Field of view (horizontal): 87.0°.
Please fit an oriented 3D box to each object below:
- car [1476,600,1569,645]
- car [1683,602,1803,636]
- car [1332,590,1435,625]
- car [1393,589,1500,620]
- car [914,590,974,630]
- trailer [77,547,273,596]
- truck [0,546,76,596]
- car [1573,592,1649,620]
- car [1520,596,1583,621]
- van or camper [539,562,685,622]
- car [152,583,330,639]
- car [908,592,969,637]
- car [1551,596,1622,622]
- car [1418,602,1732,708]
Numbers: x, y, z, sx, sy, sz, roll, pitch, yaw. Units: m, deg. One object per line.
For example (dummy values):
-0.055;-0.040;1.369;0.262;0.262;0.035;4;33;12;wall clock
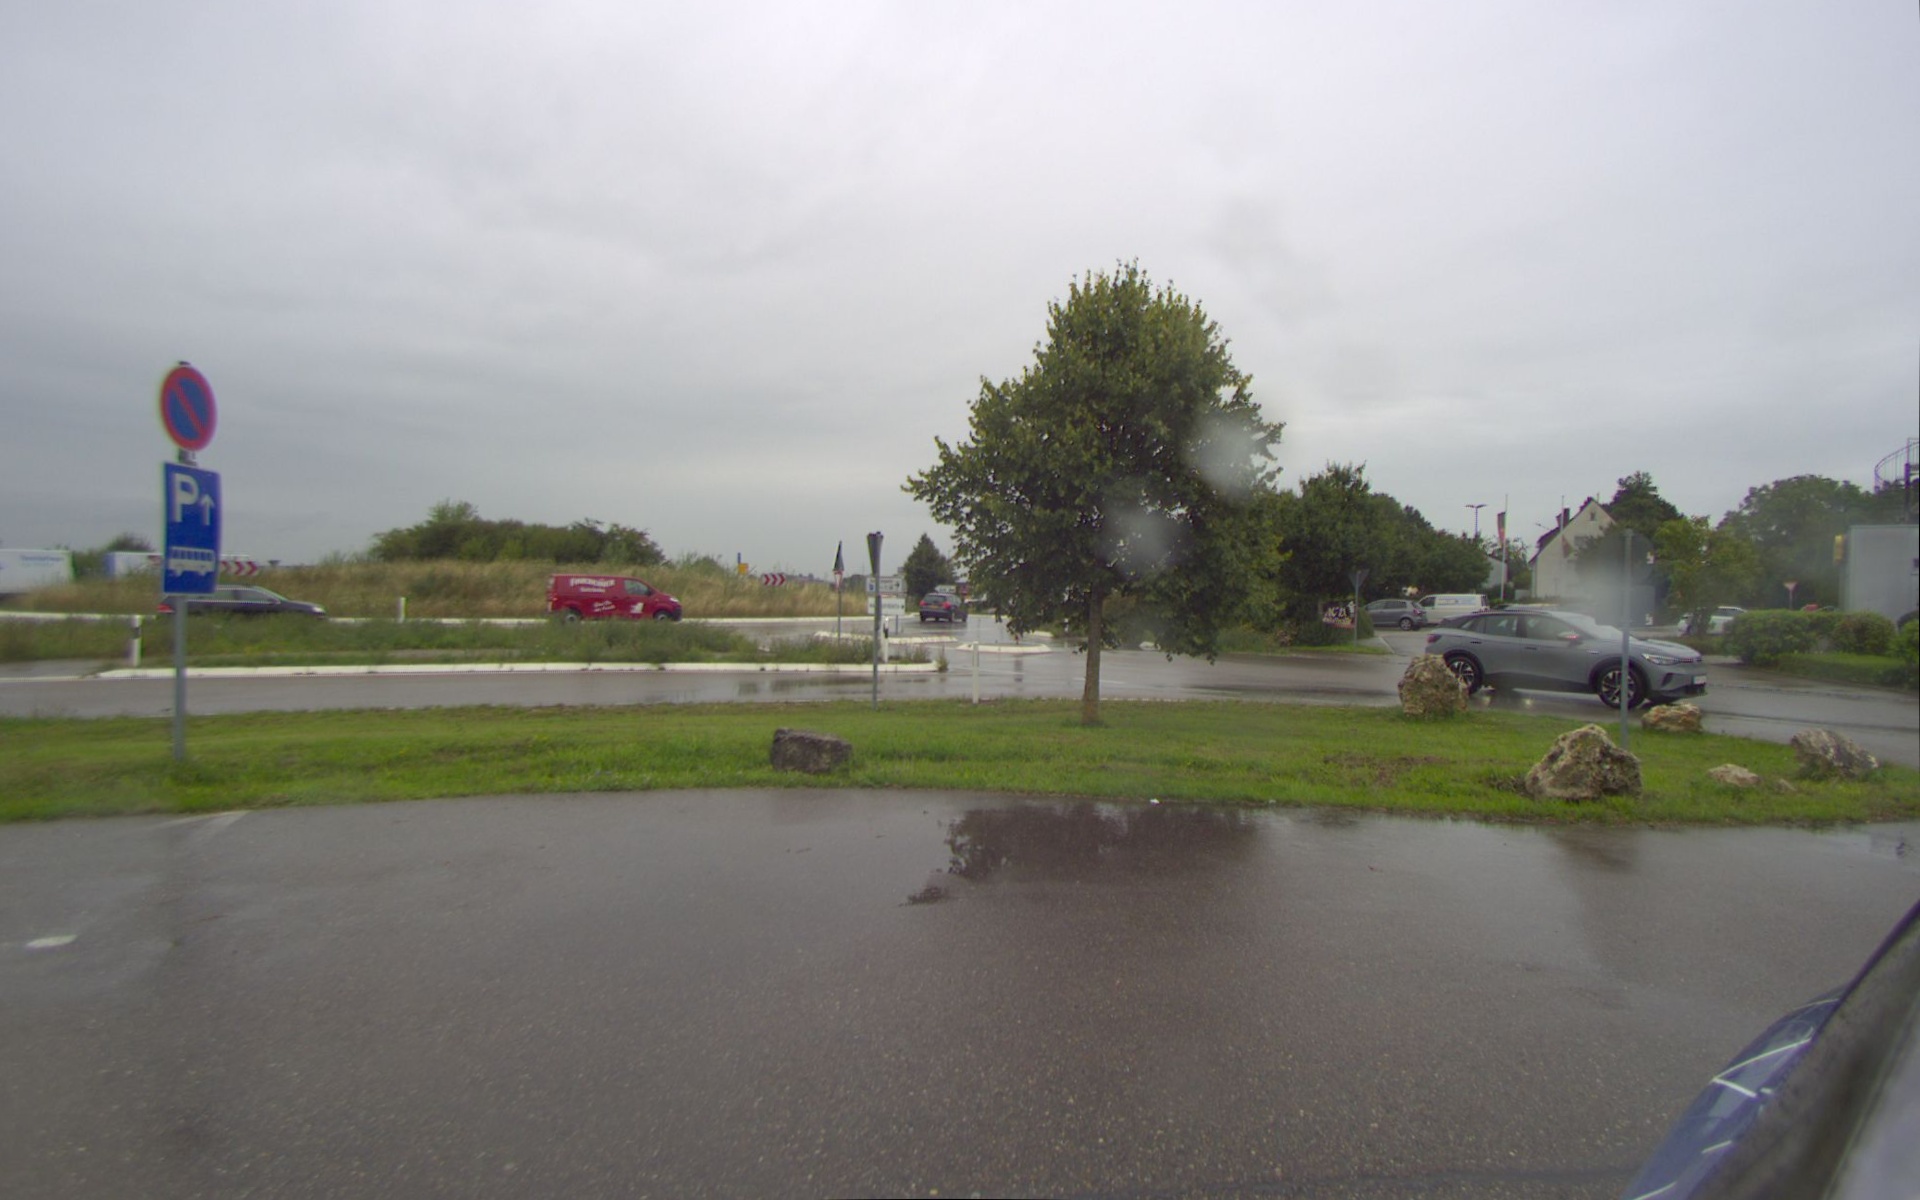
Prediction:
19.991;0.772;35.914;4.288;1.443;1.701;-1;-1;-44;car
36.255;0.870;46.939;4.341;1.443;1.823;1;0;41;car
21.923;0.389;52.469;4.591;1.744;1.970;0;-1;42;car
28.572;0.278;59.590;5.356;1.744;1.970;0;-1;42;car
-0.775;0.505;52.582;1.974;2.039;3.976;0;0;18;car
-51.373;-1.768;66.607;2.194;2.939;10.007;0;0;37;trailer
-57.478;-1.722;59.938;7.655;2.945;2.180;0;0;-41;truck
42.029;0.405;65.463;1.949;1.750;4.006;0;0;-9;car
37.778;0.532;64.729;1.633;1.569;3.729;0;0;-4;car
-12.814;-0.283;37.316;4.749;2.038;2.003;1;2;-29;van or camper
-22.482;0.300;31.797;4.440;1.623;1.999;-1;0;-36;car
-1.077;0.694;52.707;1.974;2.038;3.978;2;3;18;car
39.965;0.580;64.672;1.713;1.590;3.894;0;0;-9;car
11.002;0.874;18.421;1.962;1.594;4.499;-1;1;-36;car
